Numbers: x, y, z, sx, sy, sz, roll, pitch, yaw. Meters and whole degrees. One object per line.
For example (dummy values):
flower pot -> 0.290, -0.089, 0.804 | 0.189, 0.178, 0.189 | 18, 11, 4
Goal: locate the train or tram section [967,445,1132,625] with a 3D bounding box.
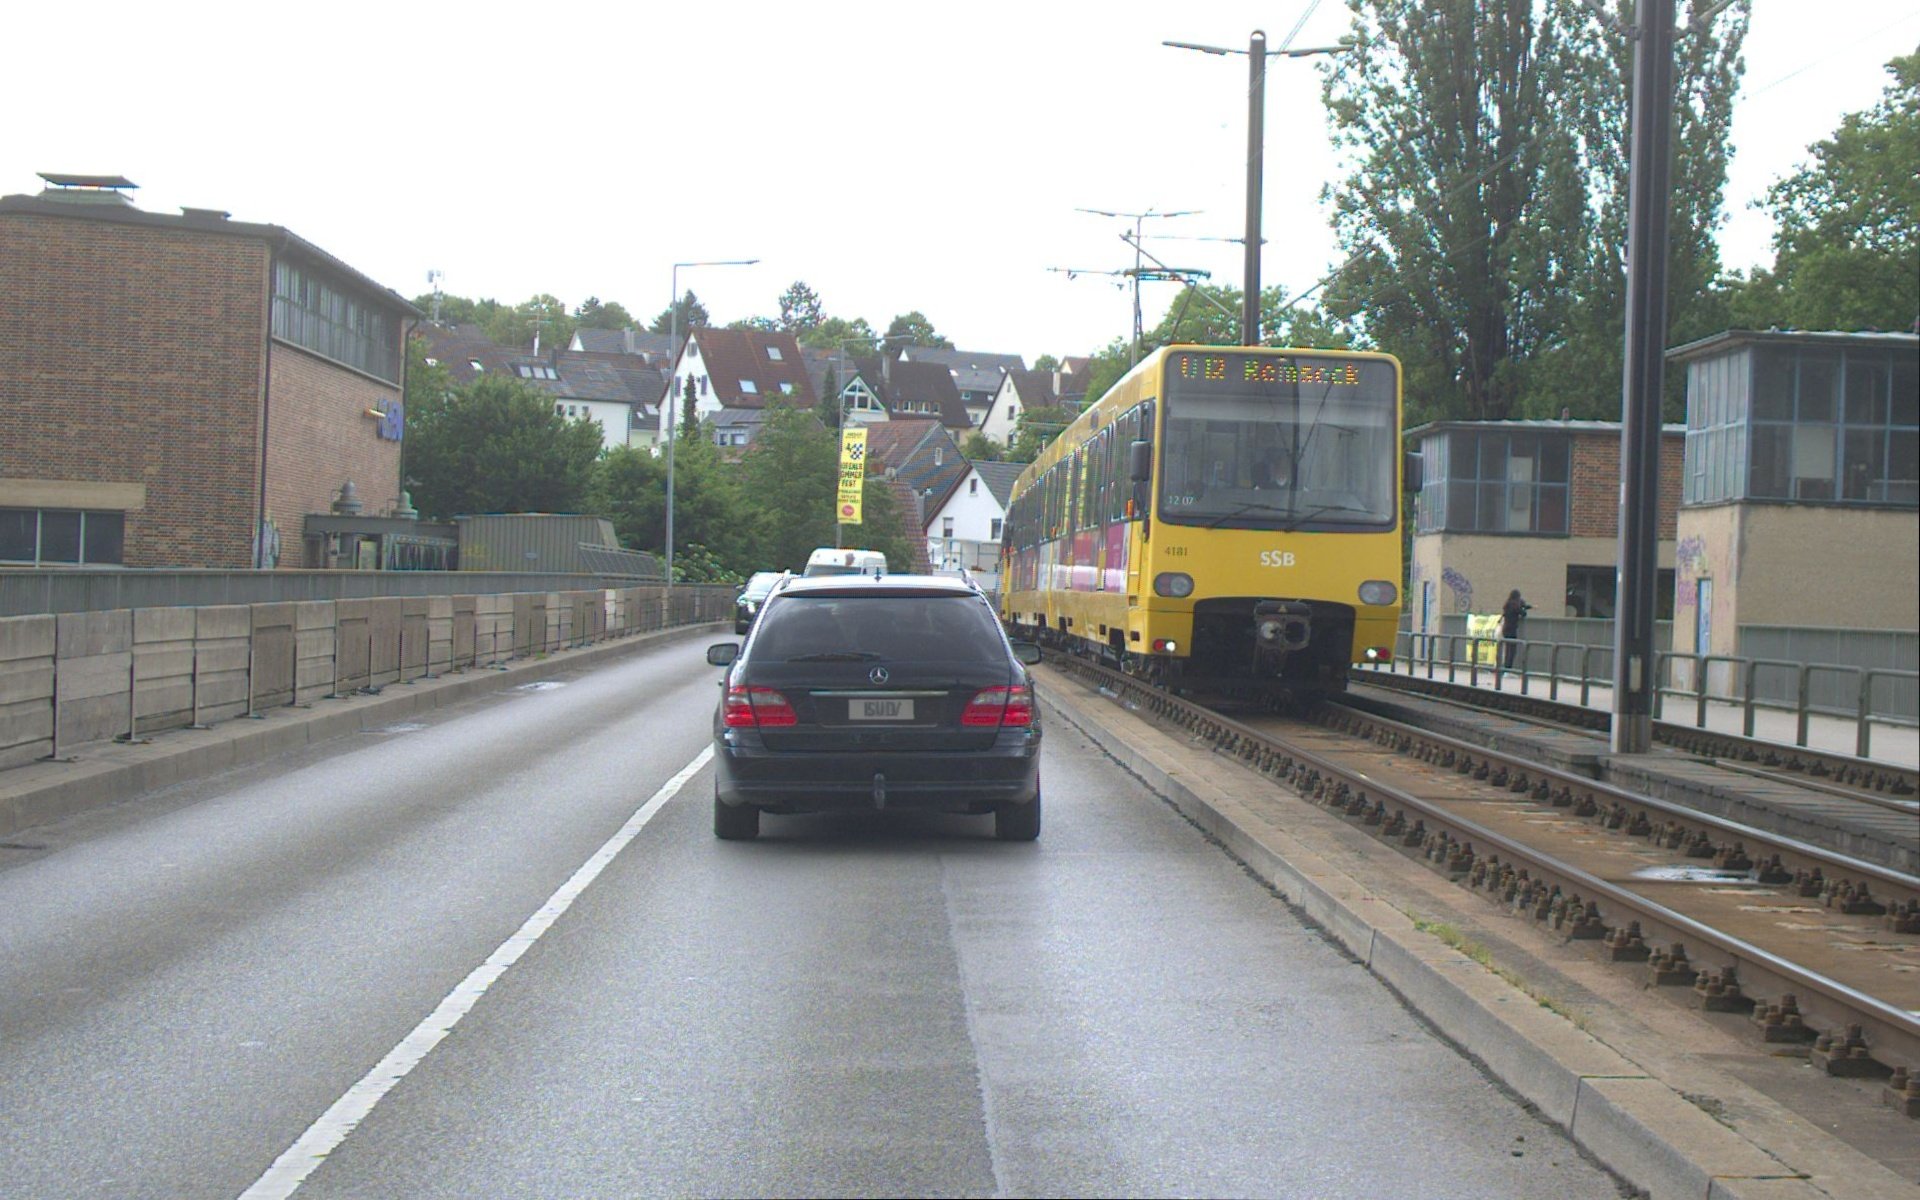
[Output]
train or tram section -> 1.847, -1.382, 80.019 | 2.784, 3.643, 19.894 | 0, 0, -1

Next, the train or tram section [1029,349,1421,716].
train or tram section -> 2.719, -0.791, 42.118 | 2.882, 3.497, 18.668 | 0, 1, -1

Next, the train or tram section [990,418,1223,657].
train or tram section -> 2.281, -1.079, 60.784 | 2.829, 3.568, 18.668 | 0, 1, -1

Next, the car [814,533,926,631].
car -> -1.544, -0.322, 57.534 | 1.770, 1.550, 4.241 | 1, 1, -3

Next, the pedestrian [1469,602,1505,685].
pedestrian -> 10.345, 0.852, 67.538 | 0.577, 1.604, 0.613 | 1, 0, 0

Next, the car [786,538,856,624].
car -> -4.297, -0.632, 107.106 | 2.033, 2.552, 7.008 | 1, 1, -1

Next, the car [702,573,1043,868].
car -> -0.529, 0.612, 20.101 | 1.759, 1.510, 4.443 | 0, 1, -2
